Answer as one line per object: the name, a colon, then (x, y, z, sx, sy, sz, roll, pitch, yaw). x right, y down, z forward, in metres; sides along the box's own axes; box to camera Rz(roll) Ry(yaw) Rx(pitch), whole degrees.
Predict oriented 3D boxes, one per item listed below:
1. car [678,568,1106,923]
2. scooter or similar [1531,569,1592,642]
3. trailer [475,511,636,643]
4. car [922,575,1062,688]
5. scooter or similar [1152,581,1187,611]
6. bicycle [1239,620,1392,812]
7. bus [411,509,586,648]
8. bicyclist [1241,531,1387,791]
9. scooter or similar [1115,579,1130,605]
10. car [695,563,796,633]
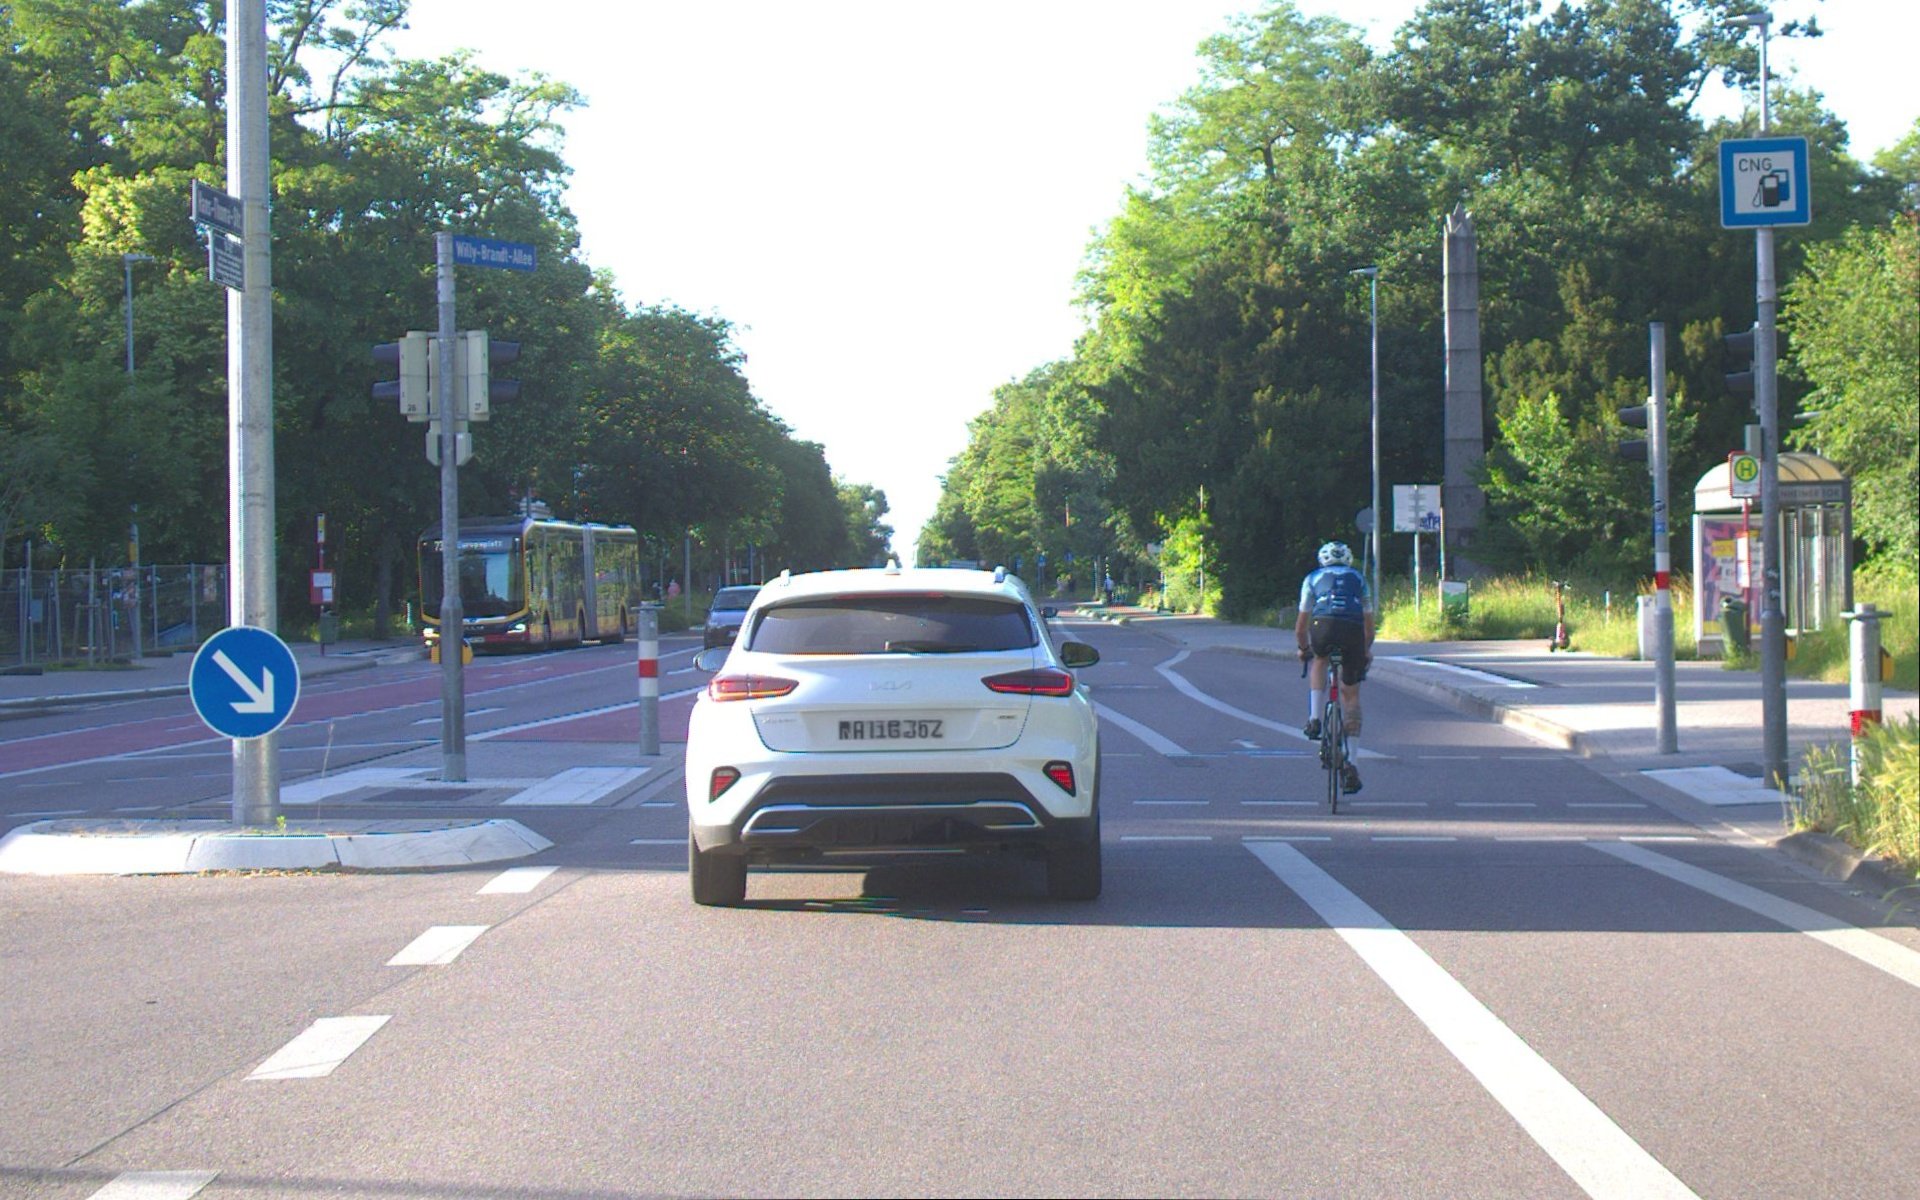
car: (-0.410, 0.601, 16.244, 1.761, 1.454, 3.818, 1, 0, -4)
scooter or similar: (10.463, 0.096, 59.766, 0.722, 1.243, 1.326, -2, 0, 23)
trailer: (-10.887, -0.595, 93.446, 2.855, 3.344, 9.361, 1, 0, 2)
car: (0.464, 0.391, 45.832, 1.676, 1.413, 3.573, -1, 0, 3)
scooter or similar: (8.745, -0.180, 143.655, 1.537, 1.246, 0.534, -1, 0, -43)
bicycle: (2.192, 0.691, 21.335, 0.891, 1.092, 2.136, 1, 1, 5)
bus: (-11.234, -0.535, 84.454, 2.840, 3.186, 8.599, -1, 0, 2)
bicyclist: (2.180, 0.363, 21.226, 0.860, 1.562, 0.881, 1, 0, 5)
scooter or similar: (8.846, -0.451, 187.276, 0.682, 1.418, 1.682, -1, 0, -1)
car: (-4.580, -0.066, 73.928, 1.710, 1.416, 4.554, -1, 1, 2)
